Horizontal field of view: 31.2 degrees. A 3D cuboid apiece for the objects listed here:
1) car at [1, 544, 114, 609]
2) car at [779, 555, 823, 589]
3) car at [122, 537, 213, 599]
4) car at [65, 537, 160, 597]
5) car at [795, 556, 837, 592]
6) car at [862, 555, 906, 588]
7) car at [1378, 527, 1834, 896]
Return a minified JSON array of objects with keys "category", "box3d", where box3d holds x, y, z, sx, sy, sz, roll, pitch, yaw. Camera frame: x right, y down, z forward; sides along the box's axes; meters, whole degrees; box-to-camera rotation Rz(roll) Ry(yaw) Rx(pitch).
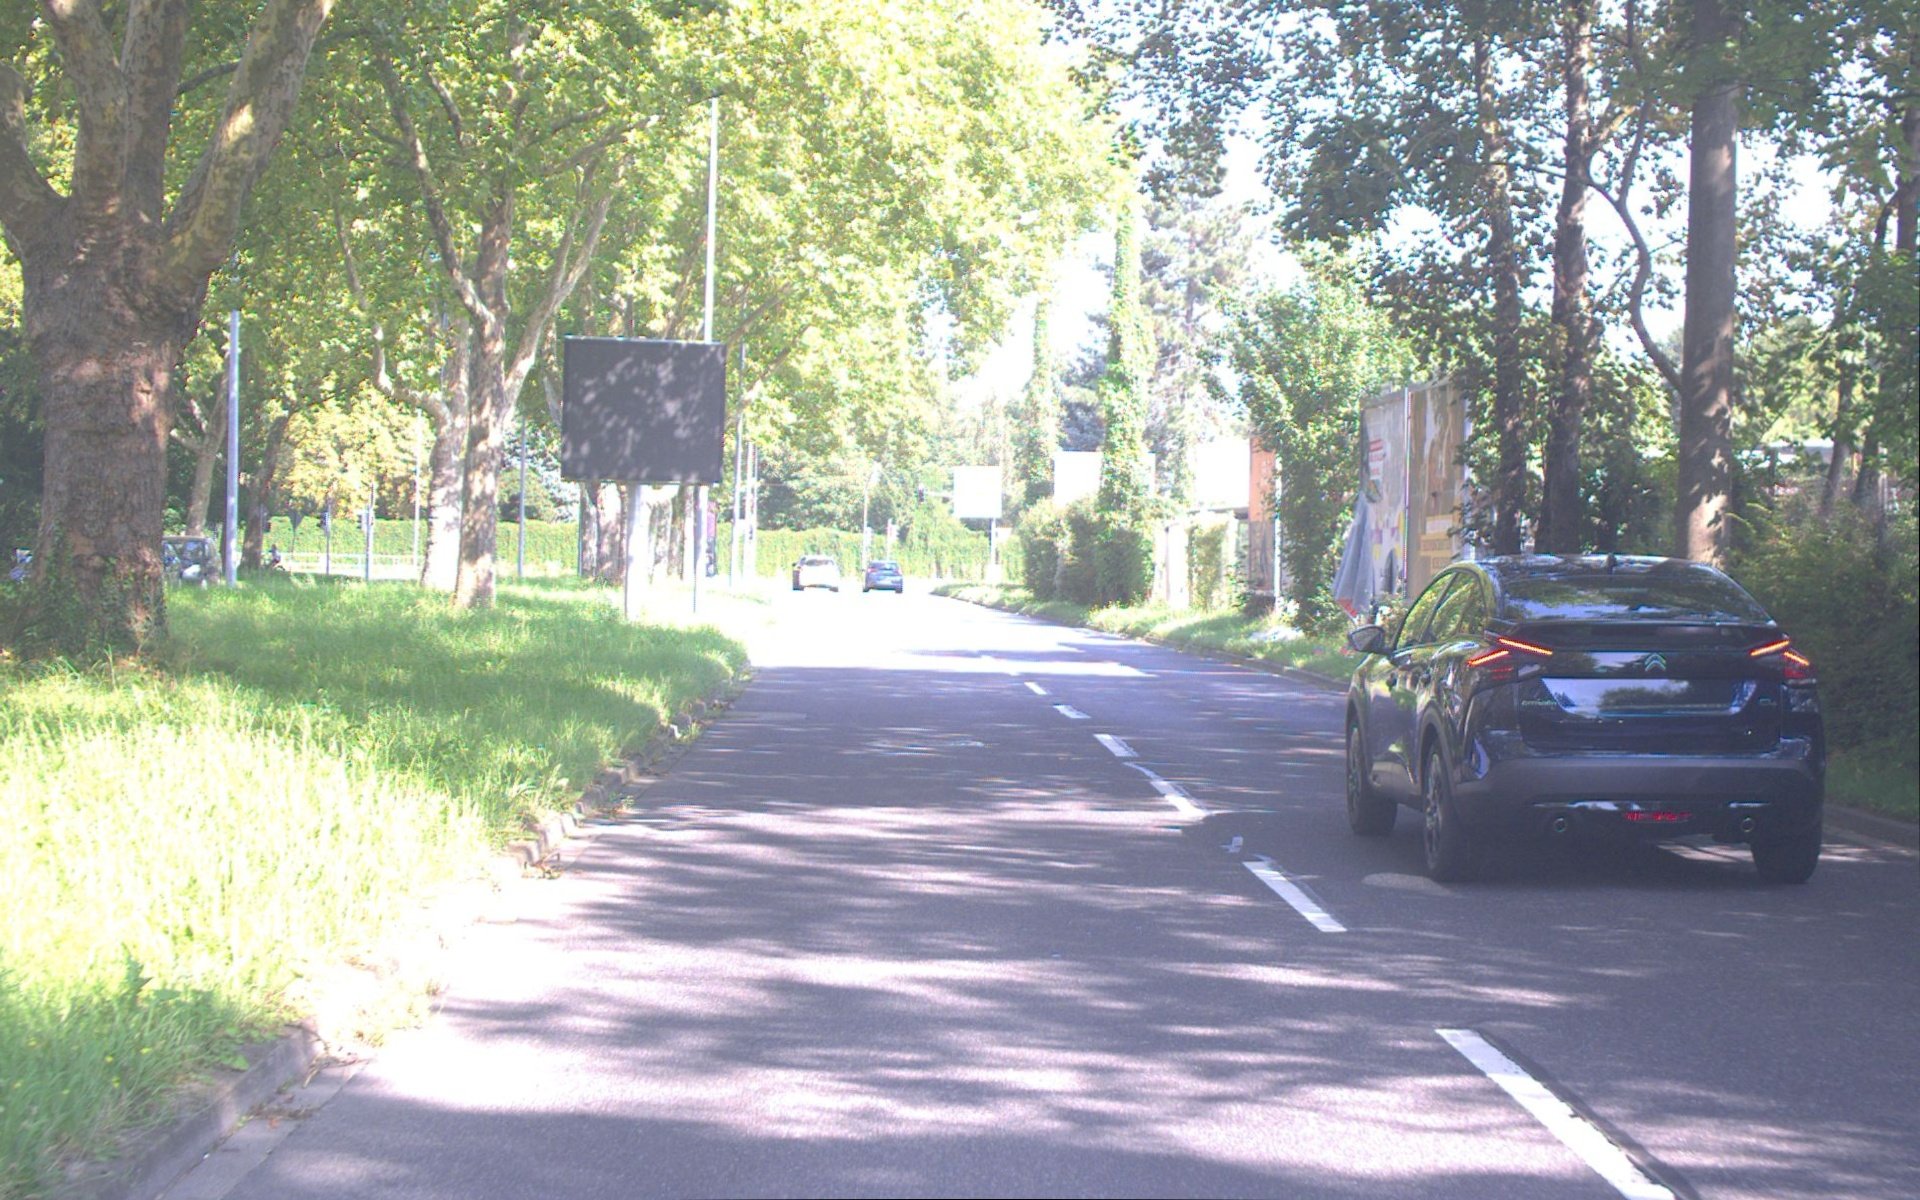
[{"category":"car","box3d":[-22.193,-0.582,84.695,1.699,1.503,4.541,1,0,-2]},{"category":"car","box3d":[-7.187,-1.245,155.775,1.687,1.457,3.849,2,0,1]},{"category":"car","box3d":[-23.367,-0.936,101.493,1.699,1.726,4.660,2,0,-2]},{"category":"car","box3d":[-23.018,-0.896,93.442,1.699,1.562,4.000,1,0,-2]},{"category":"car","box3d":[-6.167,-1.092,147.310,1.687,1.457,4.000,2,0,-2]},{"category":"car","box3d":[-3.482,-1.291,156.396,1.797,1.396,4.000,2,0,-3]},{"category":"car","box3d":[3.077,0.482,17.141,1.645,1.583,4.254,1,0,3]}]
